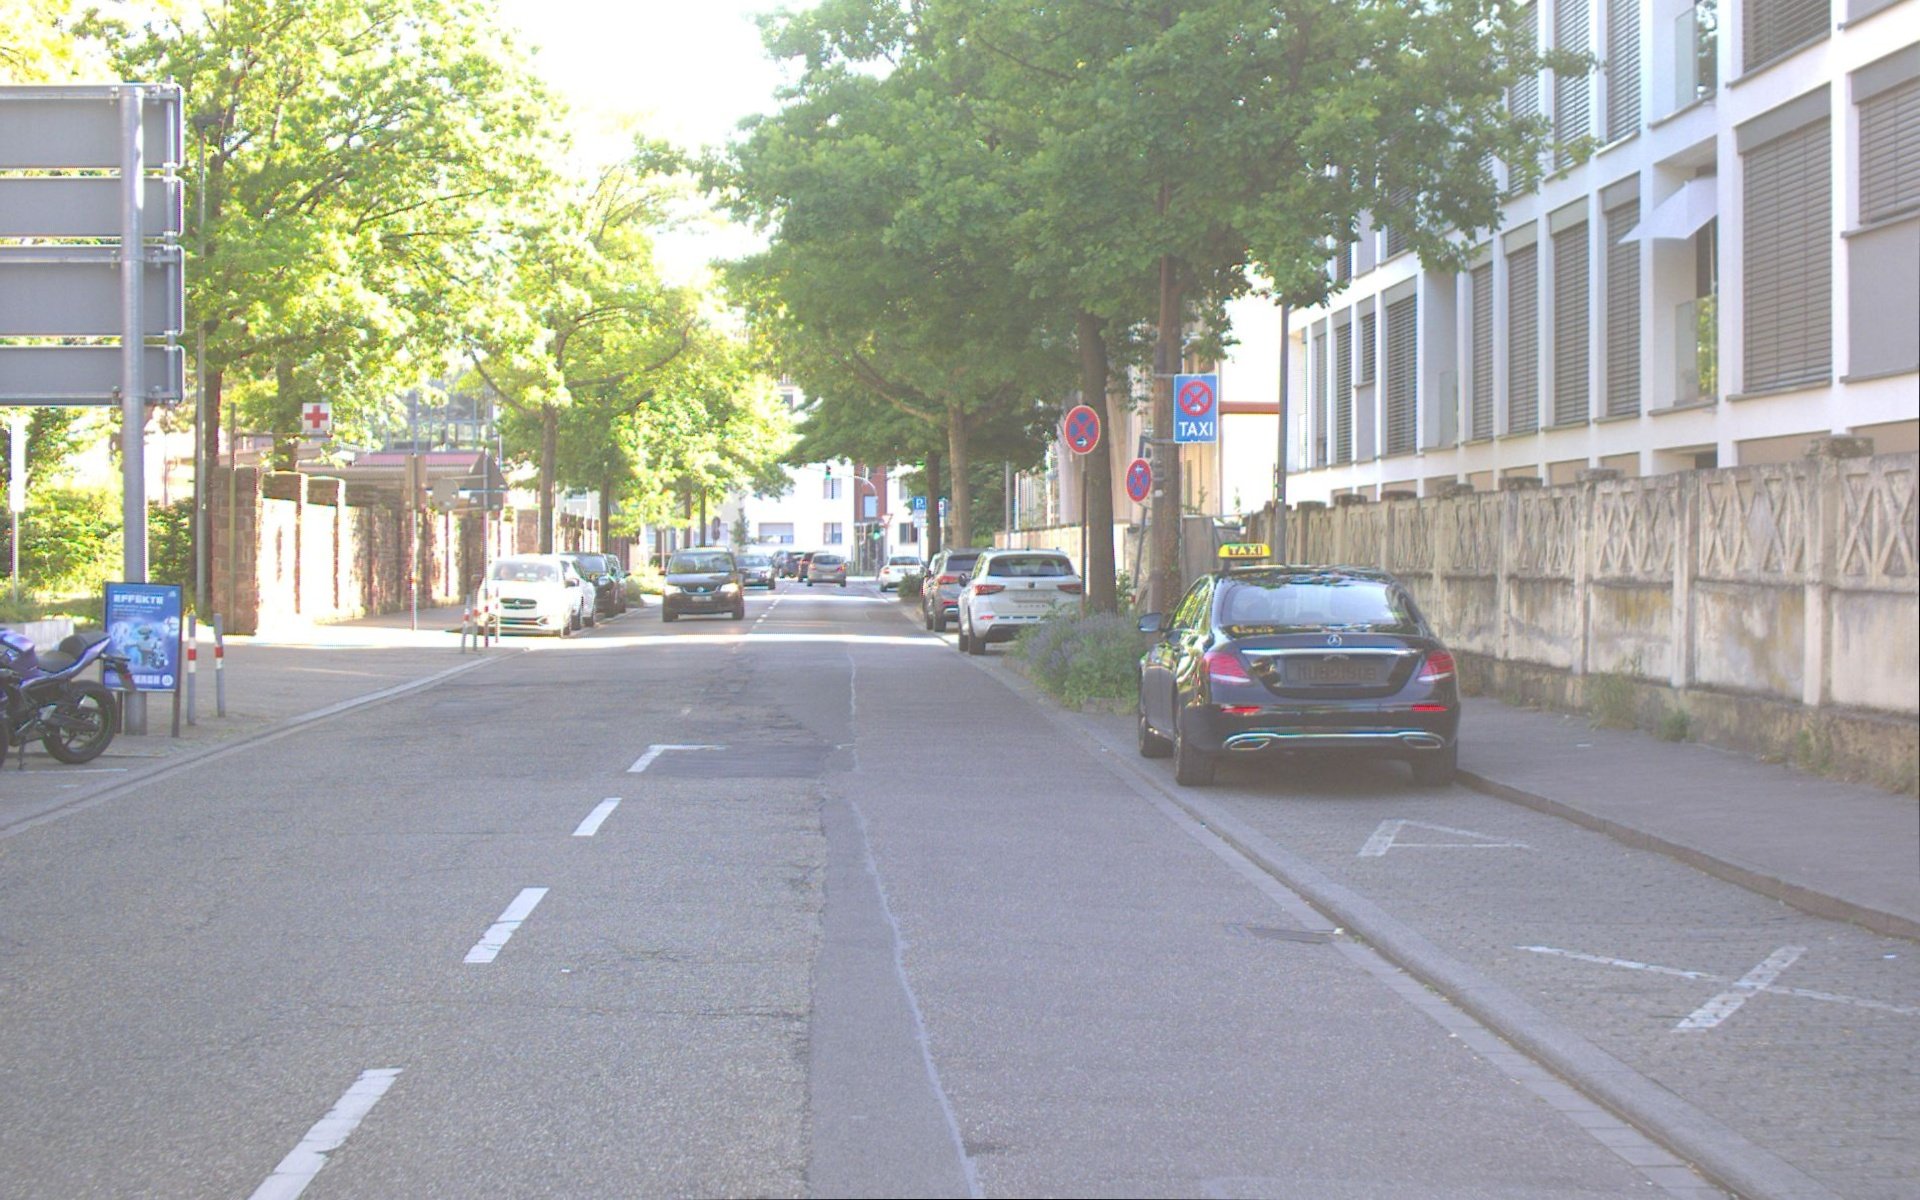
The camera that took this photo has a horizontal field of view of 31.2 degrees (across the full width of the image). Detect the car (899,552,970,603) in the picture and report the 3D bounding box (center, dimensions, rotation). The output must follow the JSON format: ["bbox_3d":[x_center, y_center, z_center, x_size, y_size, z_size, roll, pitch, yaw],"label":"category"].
[{"bbox_3d":[-0.758,-0.674,99.076,1.993,1.420,3.837,0,1,-1],"label":"car"}]

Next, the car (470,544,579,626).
[{"bbox_3d":[-8.108,-0.296,64.271,1.767,1.482,4.001,0,1,-3],"label":"car"}]

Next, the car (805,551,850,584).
[{"bbox_3d":[-5.825,-1.450,151.231,1.889,1.395,3.837,0,1,-1],"label":"car"}]

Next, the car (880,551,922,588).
[{"bbox_3d":[-2.314,-1.191,133.367,1.585,1.395,3.837,0,1,-1],"label":"car"}]

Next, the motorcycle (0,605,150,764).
[{"bbox_3d":[-6.670,0.590,24.183,0.577,1.071,2.118,1,1,31],"label":"motorcycle"}]

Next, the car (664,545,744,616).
[{"bbox_3d":[-5.719,-0.458,77.064,1.653,1.525,4.000,0,1,-2],"label":"car"}]

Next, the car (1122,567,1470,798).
[{"bbox_3d":[2.211,0.499,23.621,1.767,1.435,4.001,0,1,-3],"label":"car"}]

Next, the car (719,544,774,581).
[{"bbox_3d":[-8.578,-1.515,138.237,1.993,1.448,4.000,0,1,-1],"label":"car"}]

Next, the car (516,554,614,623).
[{"bbox_3d":[-8.962,-0.281,78.215,1.907,1.525,4.000,0,1,-2],"label":"car"}]

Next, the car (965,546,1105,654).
[{"bbox_3d":[1.105,-0.024,52.445,1.950,1.573,3.837,0,1,-1],"label":"car"}]

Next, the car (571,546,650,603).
[{"bbox_3d":[-9.674,-0.713,95.406,1.907,1.525,4.000,1,1,-2],"label":"car"}]

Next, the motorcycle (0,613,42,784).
[{"bbox_3d":[-6.677,0.634,21.271,0.577,1.071,2.118,1,1,31],"label":"motorcycle"}]

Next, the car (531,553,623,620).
[{"bbox_3d":[-9.152,-0.343,82.353,1.907,1.525,4.000,0,1,-2],"label":"car"}]

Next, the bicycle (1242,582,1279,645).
[{"bbox_3d":[4.098,0.176,46.895,0.356,0.839,1.324,0,1,-1],"label":"bicycle"}]

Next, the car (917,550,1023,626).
[{"bbox_3d":[0.179,-0.261,68.303,1.993,1.460,3.837,0,1,-1],"label":"car"}]

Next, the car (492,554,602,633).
[{"bbox_3d":[-8.392,-0.154,70.197,1.907,1.525,4.000,0,1,-2],"label":"car"}]
